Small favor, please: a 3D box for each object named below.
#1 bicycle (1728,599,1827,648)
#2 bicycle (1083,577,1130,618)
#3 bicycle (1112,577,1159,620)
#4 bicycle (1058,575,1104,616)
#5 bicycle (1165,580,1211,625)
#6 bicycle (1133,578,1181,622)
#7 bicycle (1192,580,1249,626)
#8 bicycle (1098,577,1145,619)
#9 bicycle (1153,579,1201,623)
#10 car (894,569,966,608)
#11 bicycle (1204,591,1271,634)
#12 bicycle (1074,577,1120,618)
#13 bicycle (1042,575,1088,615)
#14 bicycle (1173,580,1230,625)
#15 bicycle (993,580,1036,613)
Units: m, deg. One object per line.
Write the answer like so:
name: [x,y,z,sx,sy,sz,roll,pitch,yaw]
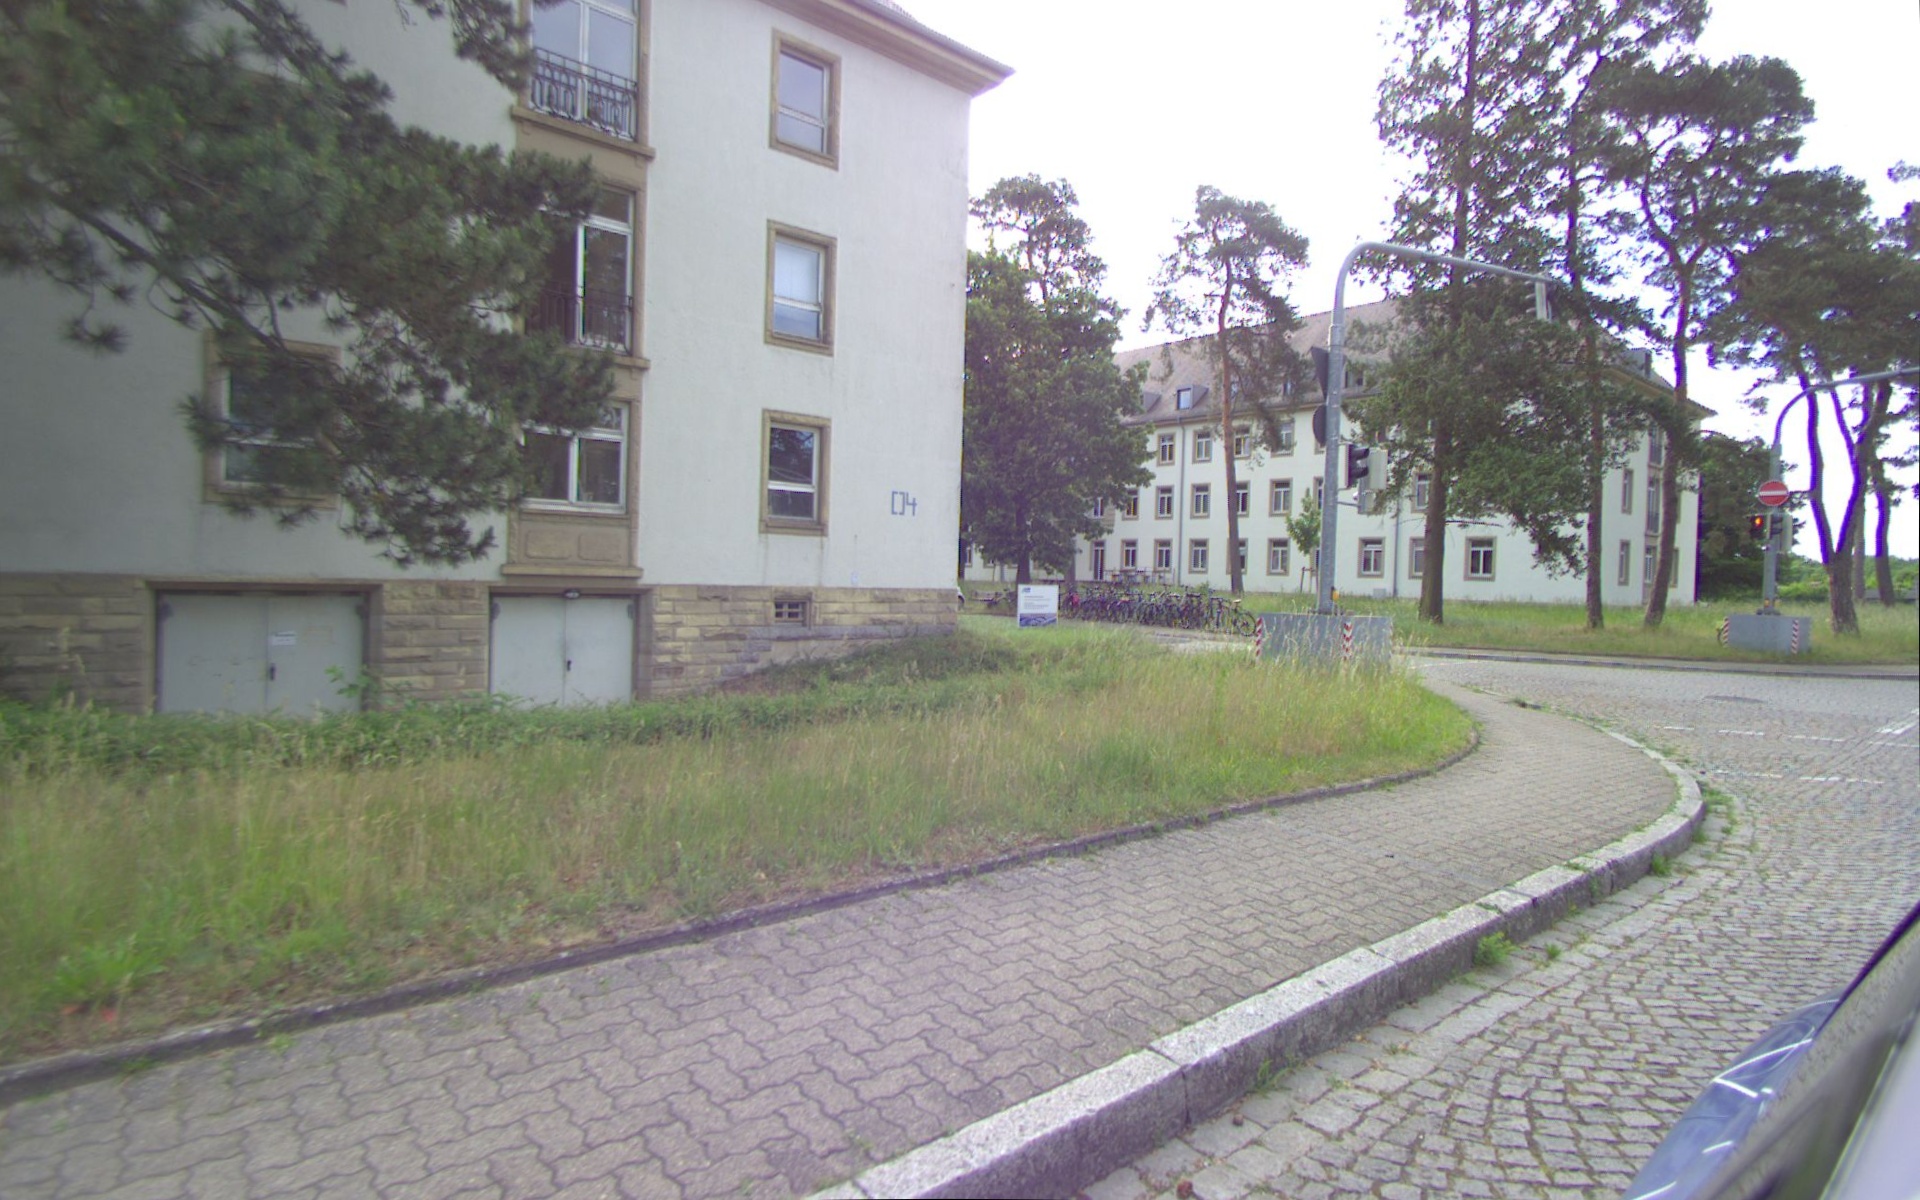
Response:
bicycle: [20.324,0.569,25.182,0.563,1.098,1.835,-2,3,-41]
bicycle: [4.929,-0.080,34.035,0.571,1.348,1.808,2,1,44]
bicycle: [5.733,-0.061,33.029,0.571,1.348,1.808,2,1,44]
bicycle: [4.200,-0.158,34.996,0.571,1.348,1.808,2,1,44]
bicycle: [7.119,0.085,31.520,0.481,1.348,1.808,2,1,44]
bicycle: [6.317,0.000,32.407,0.571,1.348,1.808,2,1,44]
bicycle: [7.914,0.101,30.721,1.802,1.348,0.573,1,1,-33]
bicycle: [5.352,-0.069,33.447,0.571,1.348,1.808,2,1,44]
bicycle: [6.852,0.031,31.860,0.571,1.348,1.808,2,1,44]
car: [-1.242,-0.482,41.968,2.645,1.527,1.475,0,2,-40]
bicycle: [7.751,0.333,28.346,0.562,1.098,1.838,-1,3,-36]
bicycle: [4.690,-0.089,34.634,0.571,1.348,1.808,2,1,44]
bicycle: [3.694,-0.178,35.497,0.571,1.348,1.808,2,1,44]
bicycle: [7.428,0.088,31.130,1.802,1.348,0.573,1,1,-33]
bicycle: [2.066,-0.135,38.234,0.571,1.201,1.809,2,2,43]
